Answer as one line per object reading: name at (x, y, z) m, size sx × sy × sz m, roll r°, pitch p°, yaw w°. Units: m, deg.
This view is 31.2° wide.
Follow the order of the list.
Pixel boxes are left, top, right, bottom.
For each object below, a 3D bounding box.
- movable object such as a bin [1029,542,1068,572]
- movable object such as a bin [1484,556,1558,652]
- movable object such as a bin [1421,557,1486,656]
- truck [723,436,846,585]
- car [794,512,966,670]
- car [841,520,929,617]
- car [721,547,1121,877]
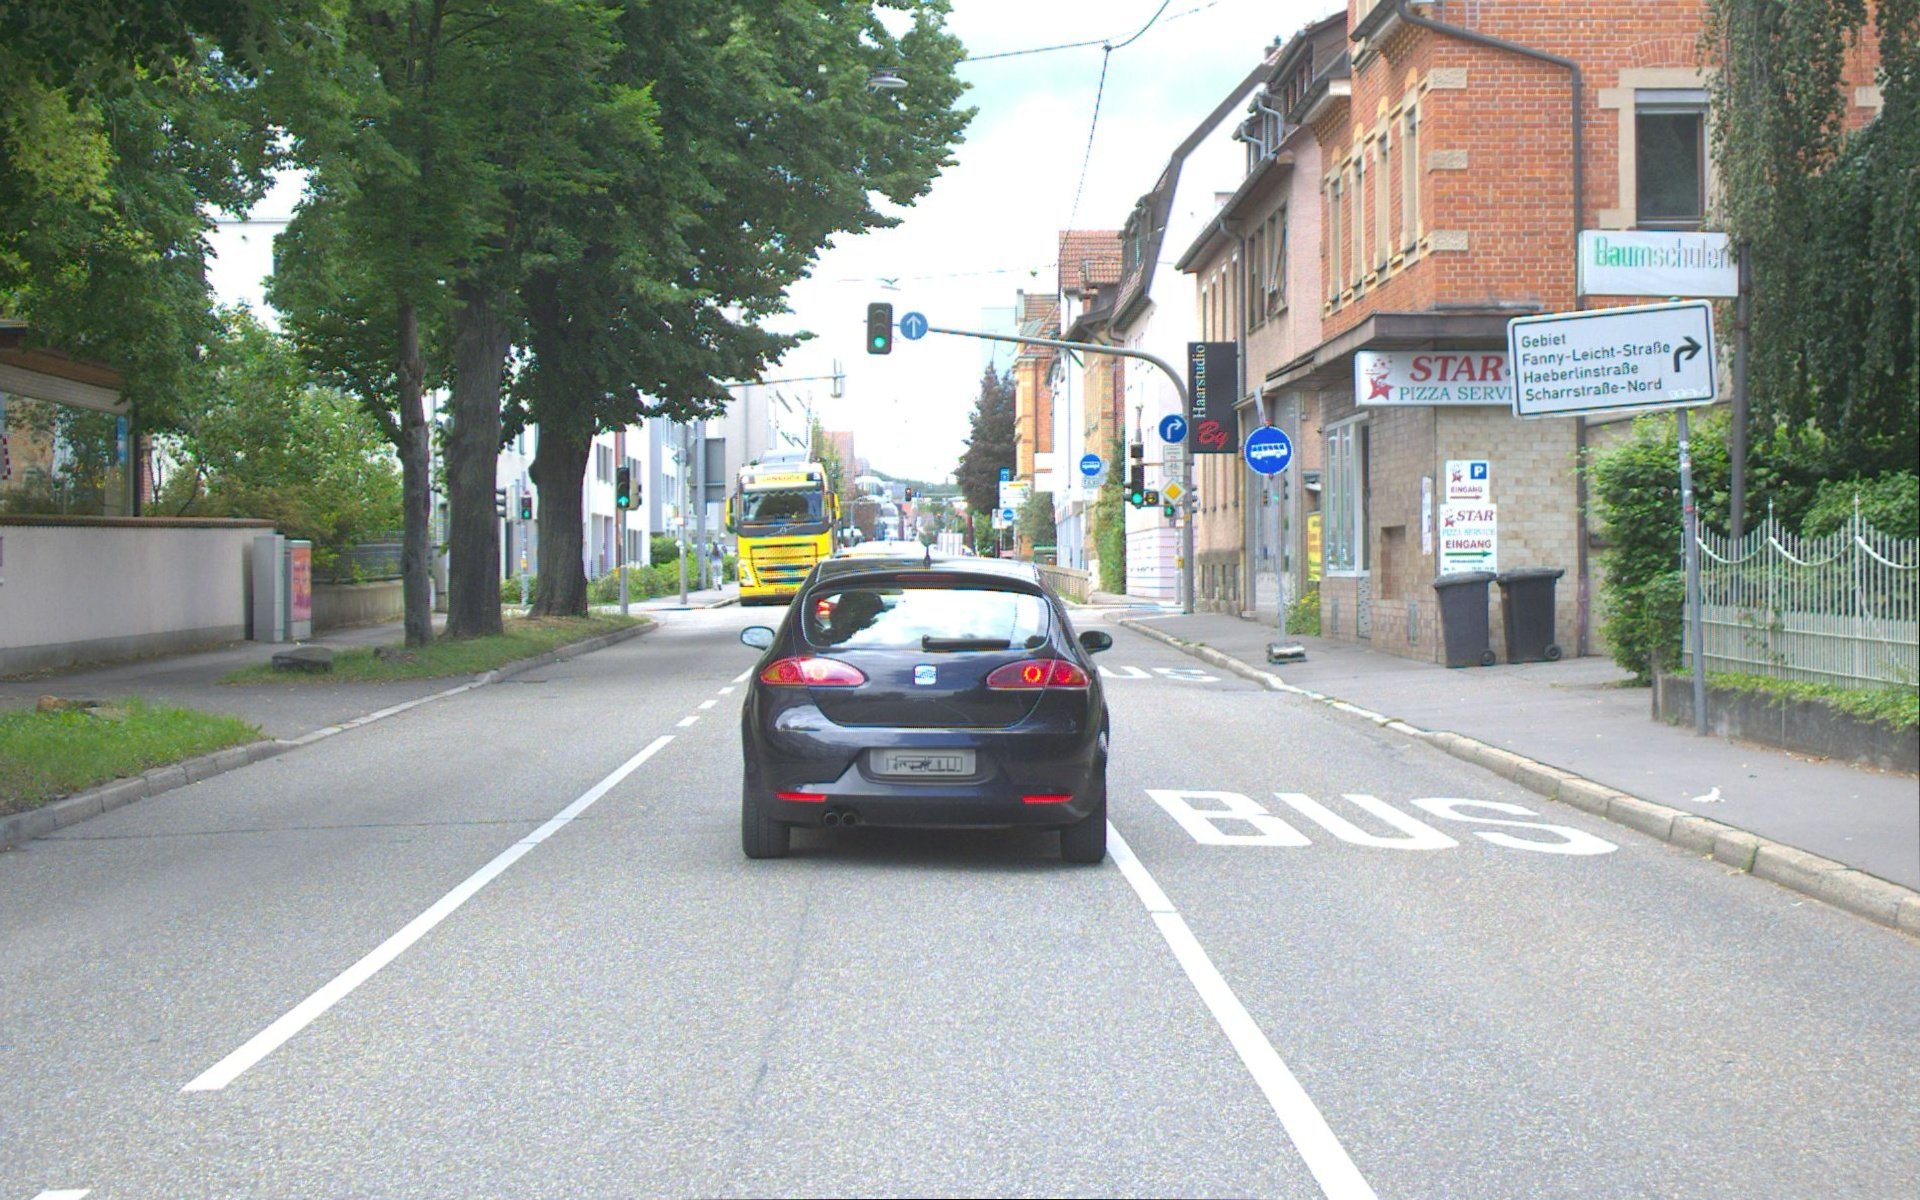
movable object such as a bin at (4.321, -2.096, 167.178) m, size 1.818 × 1.432 × 1.993 m, roll 1°, pitch 0°, yaw 0°
movable object such as a bin at (6.334, 0.039, 38.838) m, size 0.698 × 1.055 × 0.723 m, roll -1°, pitch 0°, yaw 0°
movable object such as a bin at (5.567, 0.073, 38.804) m, size 0.606 × 1.097 × 0.622 m, roll -1°, pitch 0°, yaw 0°
truck at (-4.659, -2.323, 92.437) m, size 2.843 × 3.769 × 7.669 m, roll 1°, pitch 0°, yaw 0°
car at (-0.917, -0.113, 39.634) m, size 1.842 × 1.687 × 4.000 m, roll 1°, pitch 0°, yaw -1°
car at (-1.363, -0.576, 62.776) m, size 1.531 × 1.687 × 3.693 m, roll 1°, pitch 0°, yaw -1°
car at (-0.200, 0.489, 17.410) m, size 1.759 × 1.437 × 4.000 m, roll 1°, pitch 0°, yaw -1°
